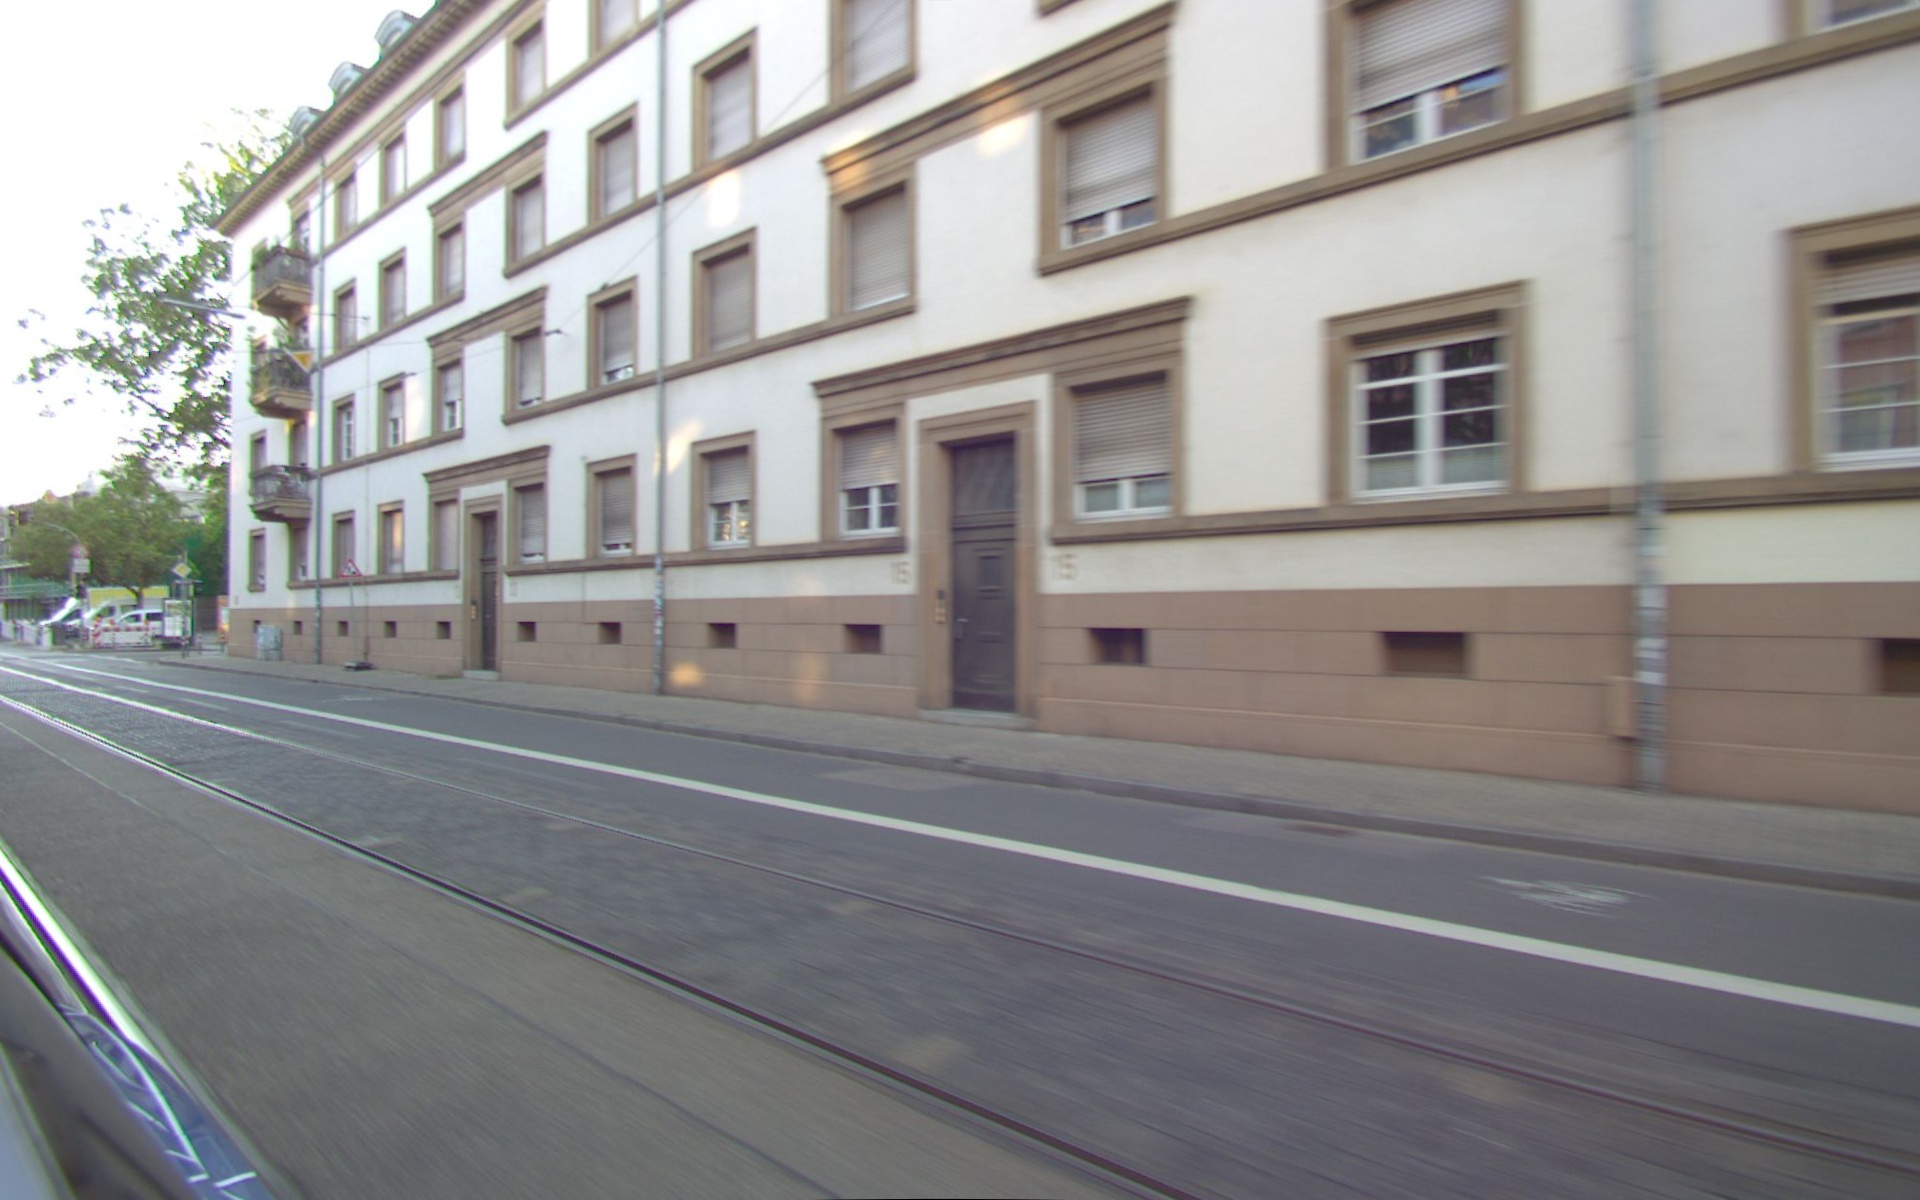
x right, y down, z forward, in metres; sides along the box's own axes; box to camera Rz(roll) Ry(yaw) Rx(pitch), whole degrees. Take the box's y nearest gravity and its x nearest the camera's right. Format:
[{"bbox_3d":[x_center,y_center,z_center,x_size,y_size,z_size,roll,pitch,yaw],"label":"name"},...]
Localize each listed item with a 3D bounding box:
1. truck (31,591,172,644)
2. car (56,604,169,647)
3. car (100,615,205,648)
[{"bbox_3d":[-58.305,1.165,68.900,2.562,3.454,6.991,-2,-1,37],"label":"truck"},{"bbox_3d":[-54.077,1.586,64.680,2.226,2.617,5.170,-2,-1,37],"label":"car"},{"bbox_3d":[-49.131,1.895,61.629,2.015,1.888,4.781,-2,-1,42],"label":"car"}]
